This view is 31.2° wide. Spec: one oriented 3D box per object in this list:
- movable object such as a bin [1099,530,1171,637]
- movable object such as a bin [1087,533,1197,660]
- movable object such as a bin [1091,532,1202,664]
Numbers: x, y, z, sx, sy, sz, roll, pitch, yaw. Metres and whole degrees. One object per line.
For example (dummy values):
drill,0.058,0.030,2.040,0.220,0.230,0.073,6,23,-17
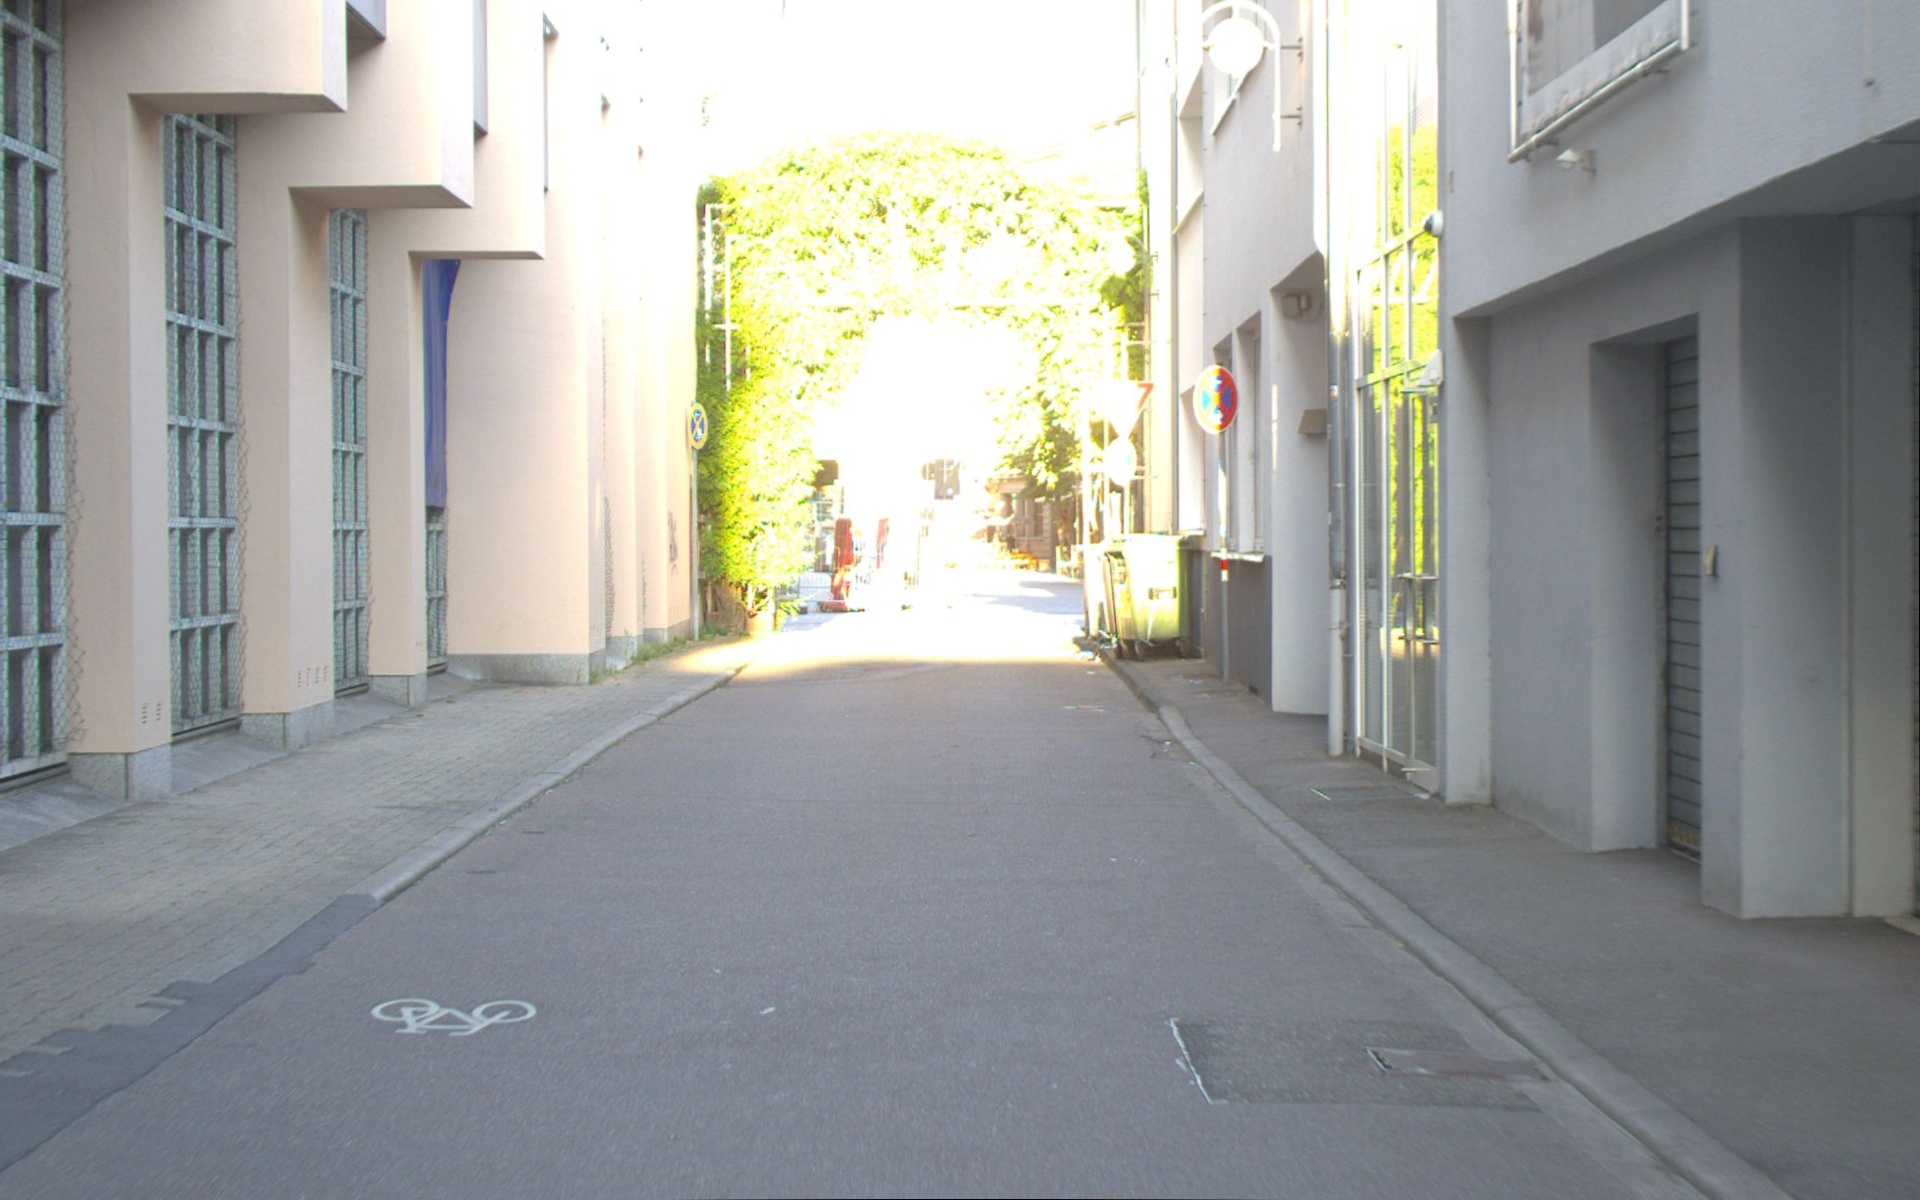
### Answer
movable object such as a bin,2.209,-0.219,43.406,0.836,1.300,1.290,-3,1,3
movable object such as a bin,2.043,-0.051,38.758,1.064,1.362,1.342,-3,1,-2
movable object such as a bin,2.018,-0.033,37.353,0.937,1.362,1.342,-3,1,-6
